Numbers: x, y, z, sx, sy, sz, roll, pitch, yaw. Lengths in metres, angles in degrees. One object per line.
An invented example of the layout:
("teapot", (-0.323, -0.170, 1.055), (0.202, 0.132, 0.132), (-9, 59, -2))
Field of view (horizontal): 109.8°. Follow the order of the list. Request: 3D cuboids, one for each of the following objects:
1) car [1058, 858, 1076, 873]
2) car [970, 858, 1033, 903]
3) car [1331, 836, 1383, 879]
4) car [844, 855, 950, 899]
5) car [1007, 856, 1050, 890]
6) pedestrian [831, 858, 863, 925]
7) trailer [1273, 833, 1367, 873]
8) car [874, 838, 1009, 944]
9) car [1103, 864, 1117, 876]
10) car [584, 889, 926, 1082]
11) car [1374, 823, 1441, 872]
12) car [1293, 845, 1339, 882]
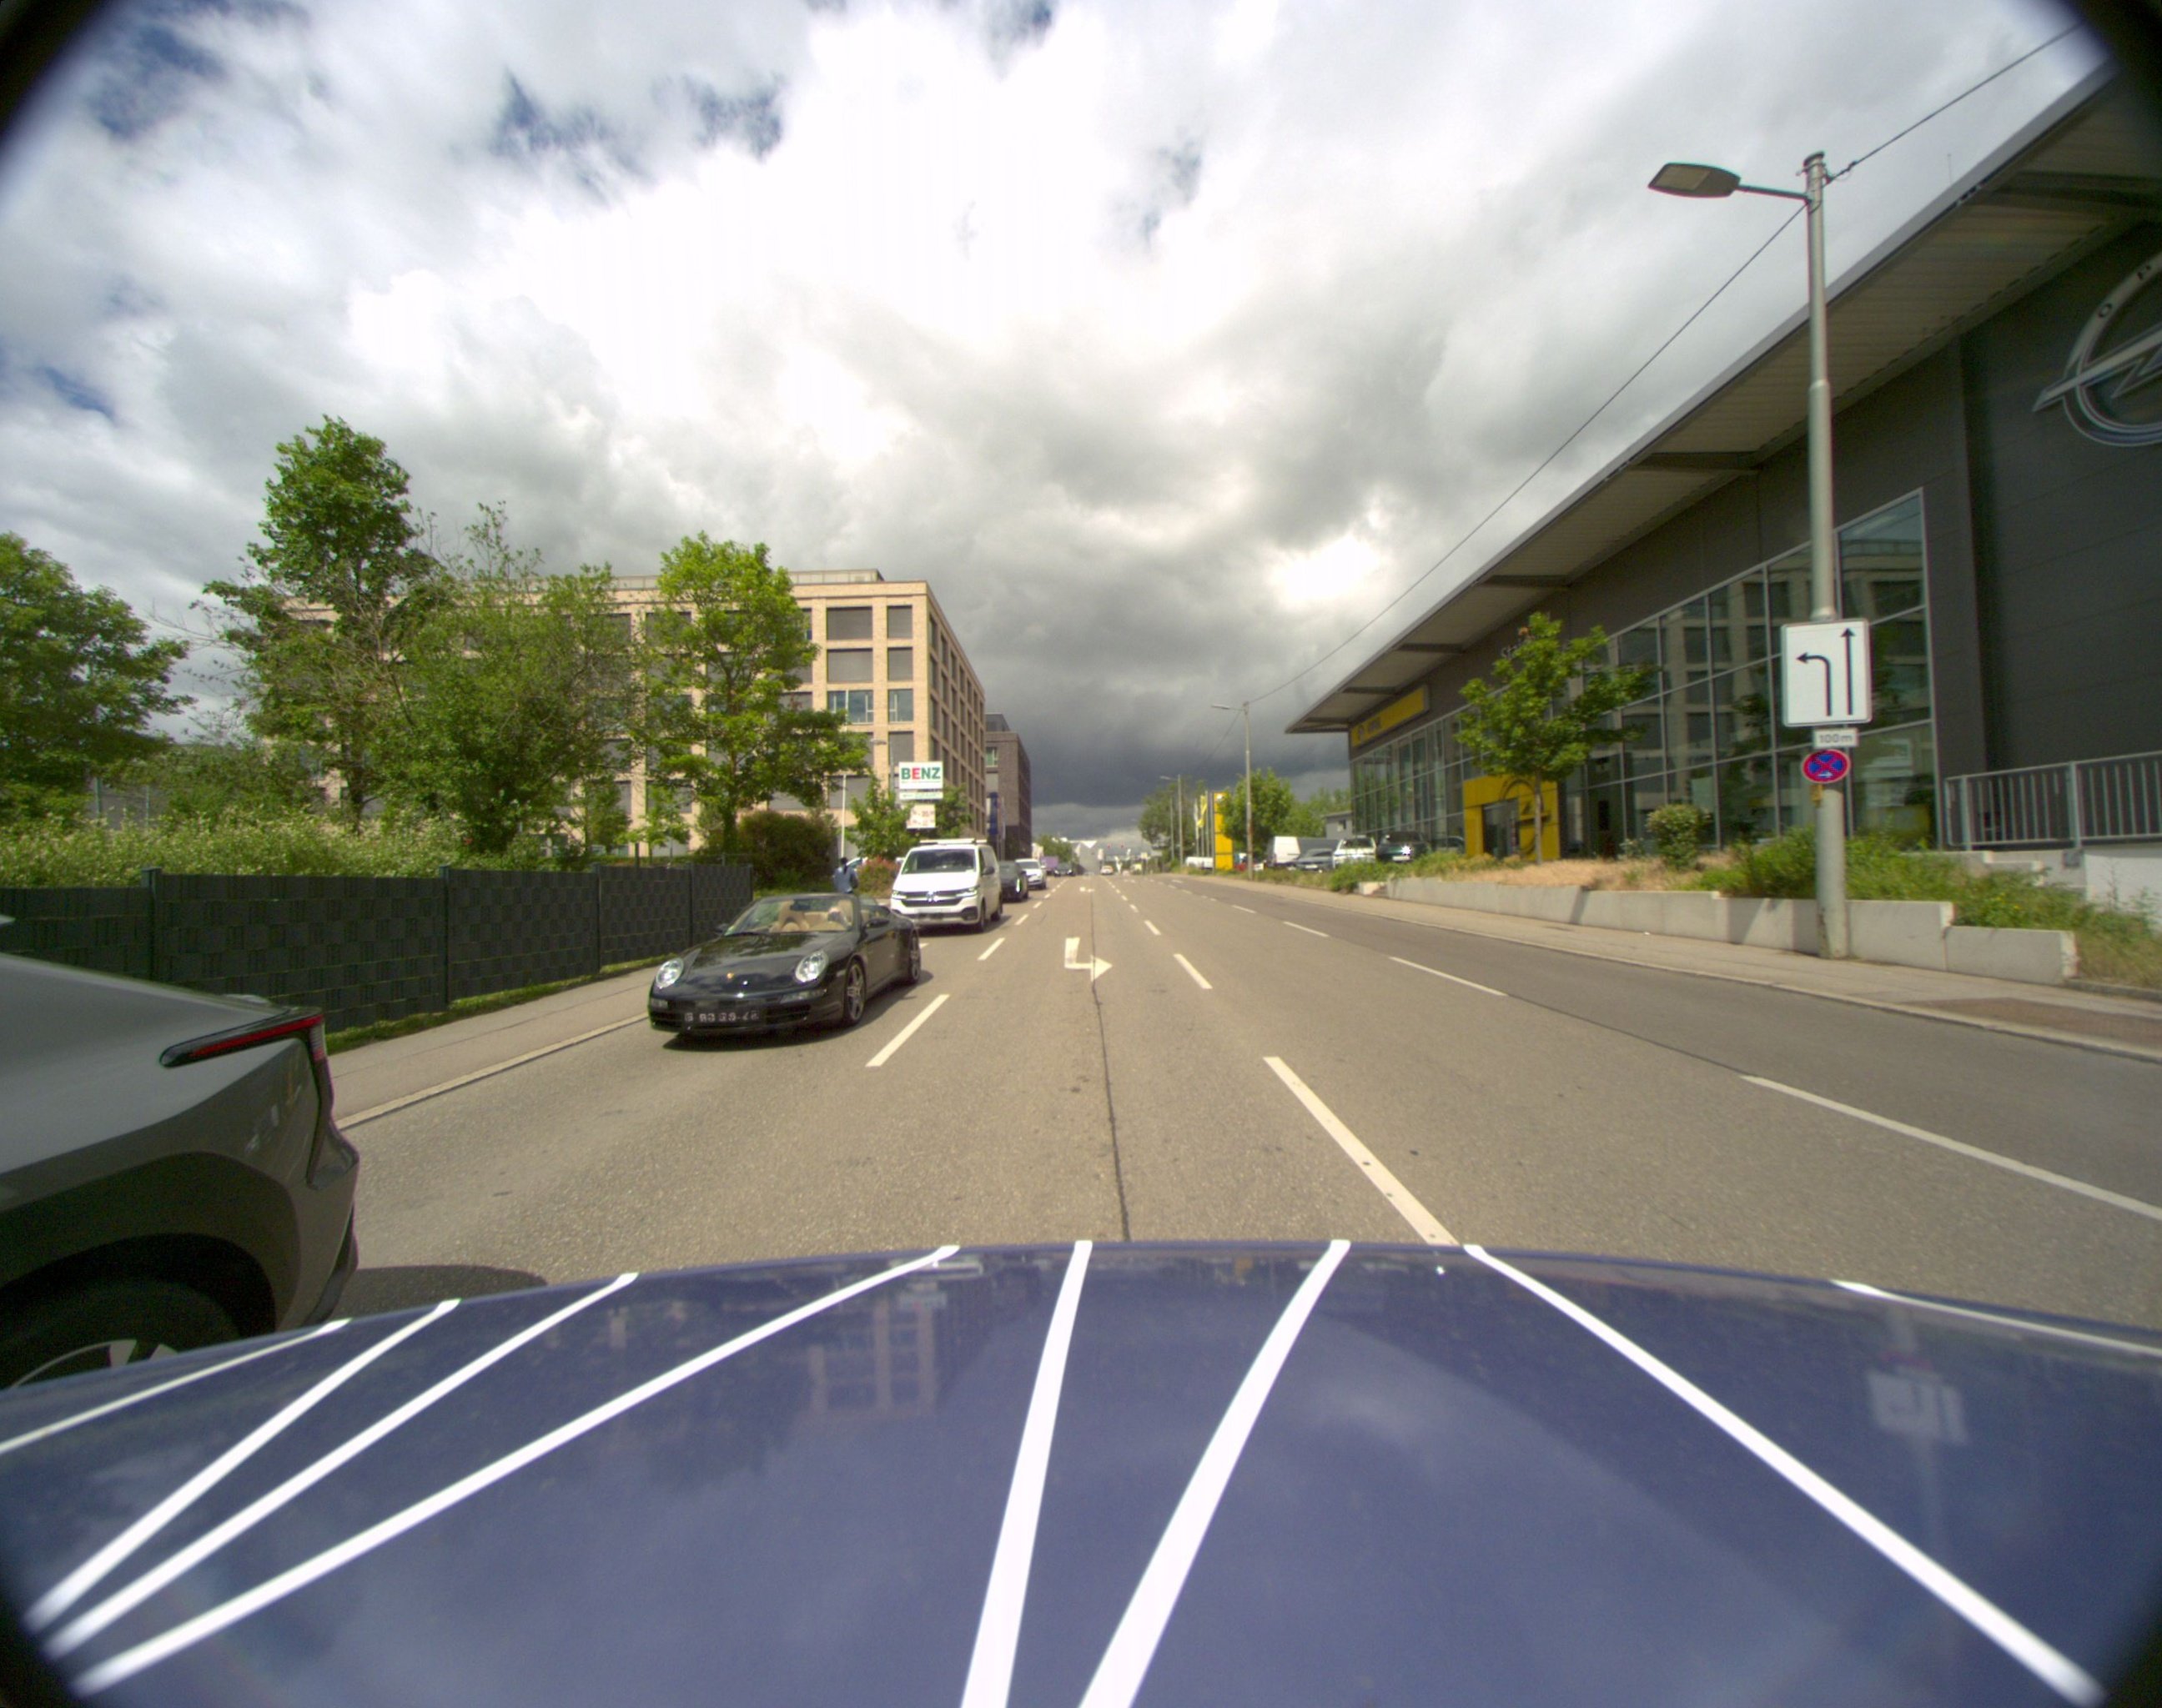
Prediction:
("car", (-1.351, 1.158, 76.185), (1.662, 1.351, 4.000), (-1, 0, 1))
("car", (-2.835, 0.915, 27.888), (1.818, 1.454, 4.000), (-1, 0, 1))
("car", (12.162, 0.130, 33.442), (1.995, 1.783, 4.006), (-1, 0, 21))
("car", (-7.638, 0.925, 31.790), (3.998, 1.723, 1.822), (-1, 1, -3))
("car", (-2.599, 0.898, 38.429), (1.818, 1.577, 4.000), (-1, 0, 1))
("pedestrian", (-5.897, 0.936, 19.160), (0.632, 1.648, 0.443), (-1, 1, -1))
("trailer", (14.444, -0.066, 46.175), (5.074, 2.336, 2.000), (-1, 1, -1))
("car", (-3.000, 0.726, 17.480), (2.089, 2.037, 4.760), (-2, 0, 1))
("car", (4.480, 2.473, 117.125), (1.998, 1.731, 4.547), (-2, 0, 1))
("car", (-3.038, 1.152, 8.136), (1.824, 1.286, 4.038), (-2, 0, 1))
("car", (12.330, -0.251, 28.931), (1.996, 1.718, 4.005), (-1, 0, 18))
("car", (12.100, 0.470, 39.015), (1.995, 1.783, 4.006), (-1, 0, 21))
